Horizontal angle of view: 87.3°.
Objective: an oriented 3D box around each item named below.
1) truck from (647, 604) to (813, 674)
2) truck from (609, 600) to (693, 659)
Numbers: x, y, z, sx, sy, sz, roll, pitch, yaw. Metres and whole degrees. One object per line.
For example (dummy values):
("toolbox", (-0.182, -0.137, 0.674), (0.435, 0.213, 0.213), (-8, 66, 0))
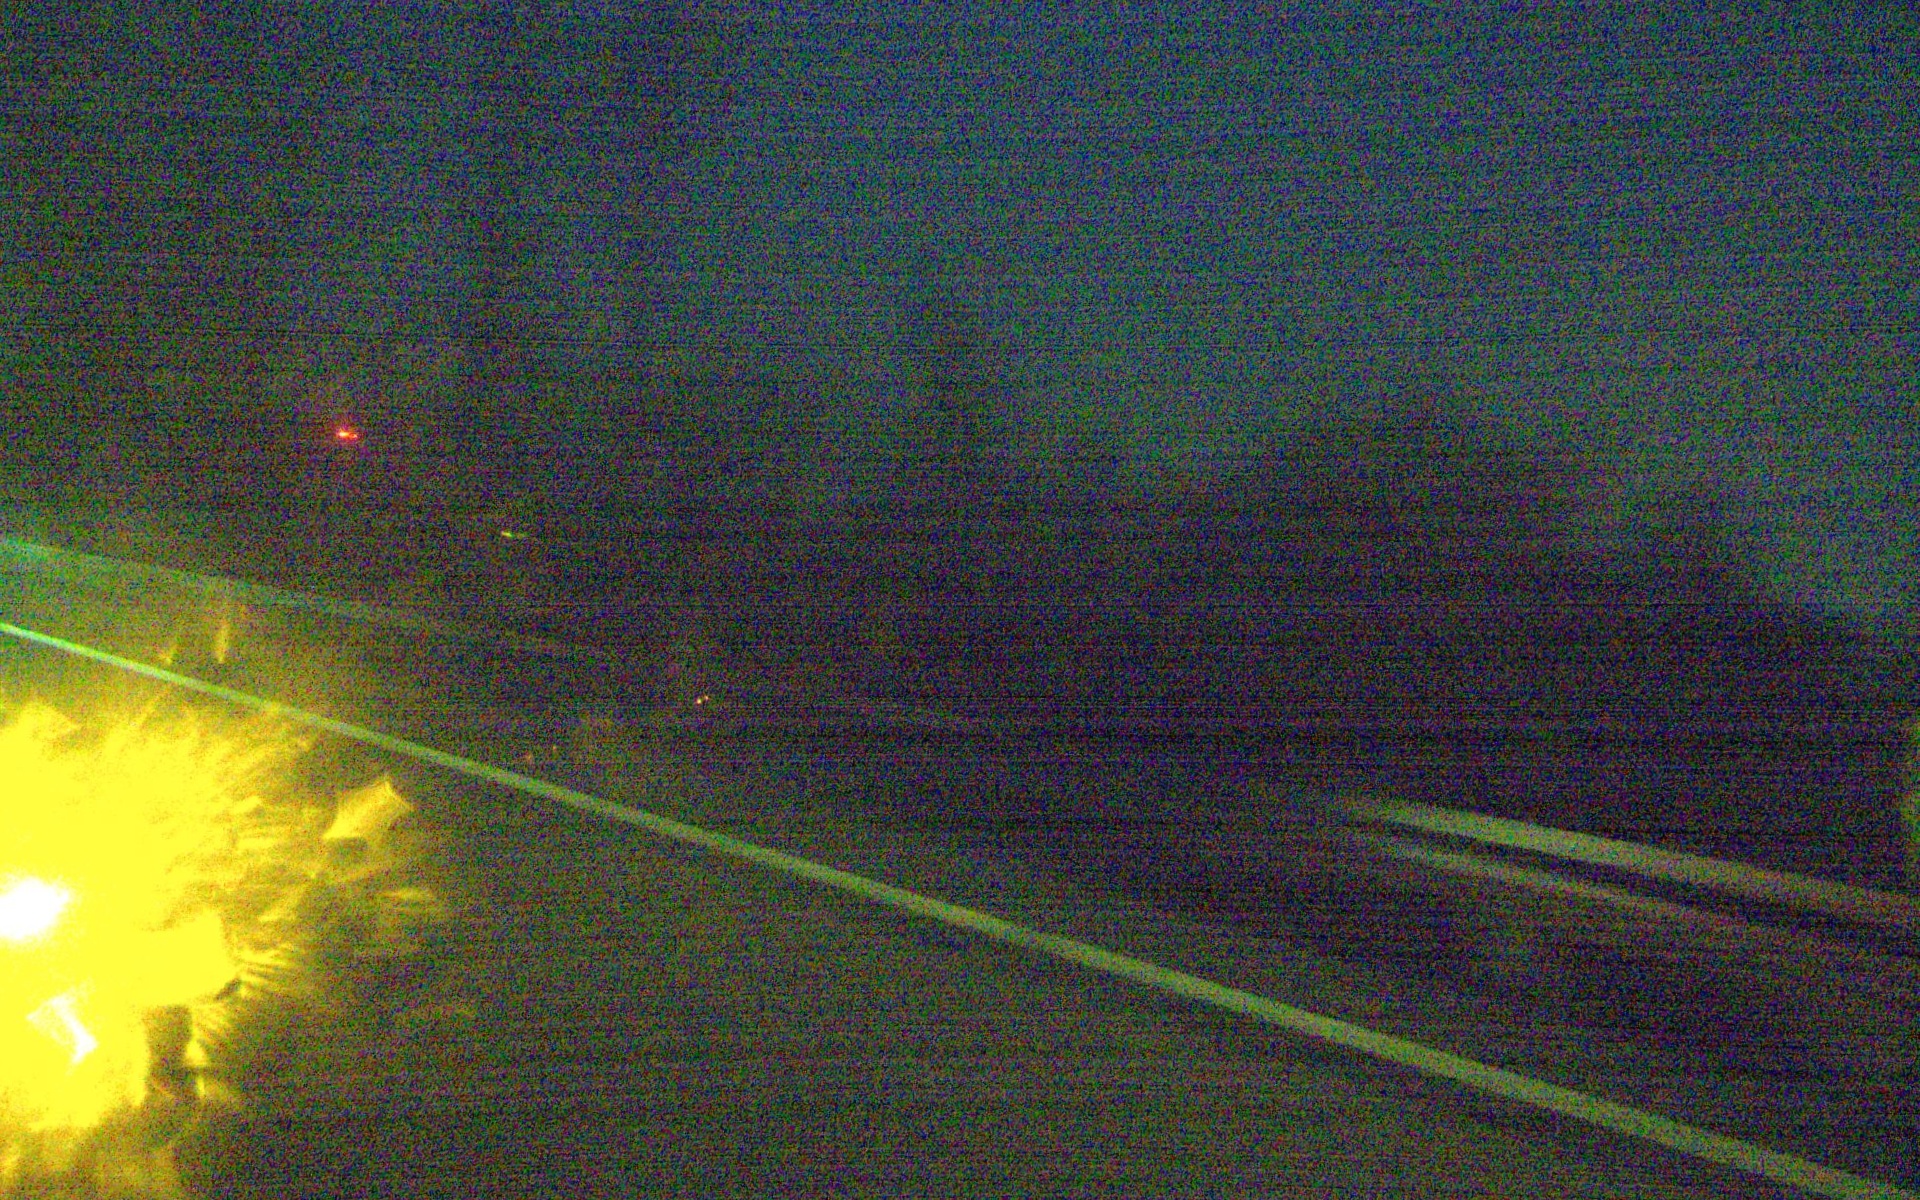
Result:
("truck", (-19.931, 3.445, 87.922), (13.598, 4.270, 2.764), (8, -2, -10))
("truck", (-26.558, 2.534, 86.708), (6.092, 4.271, 2.764), (8, -2, -10))
